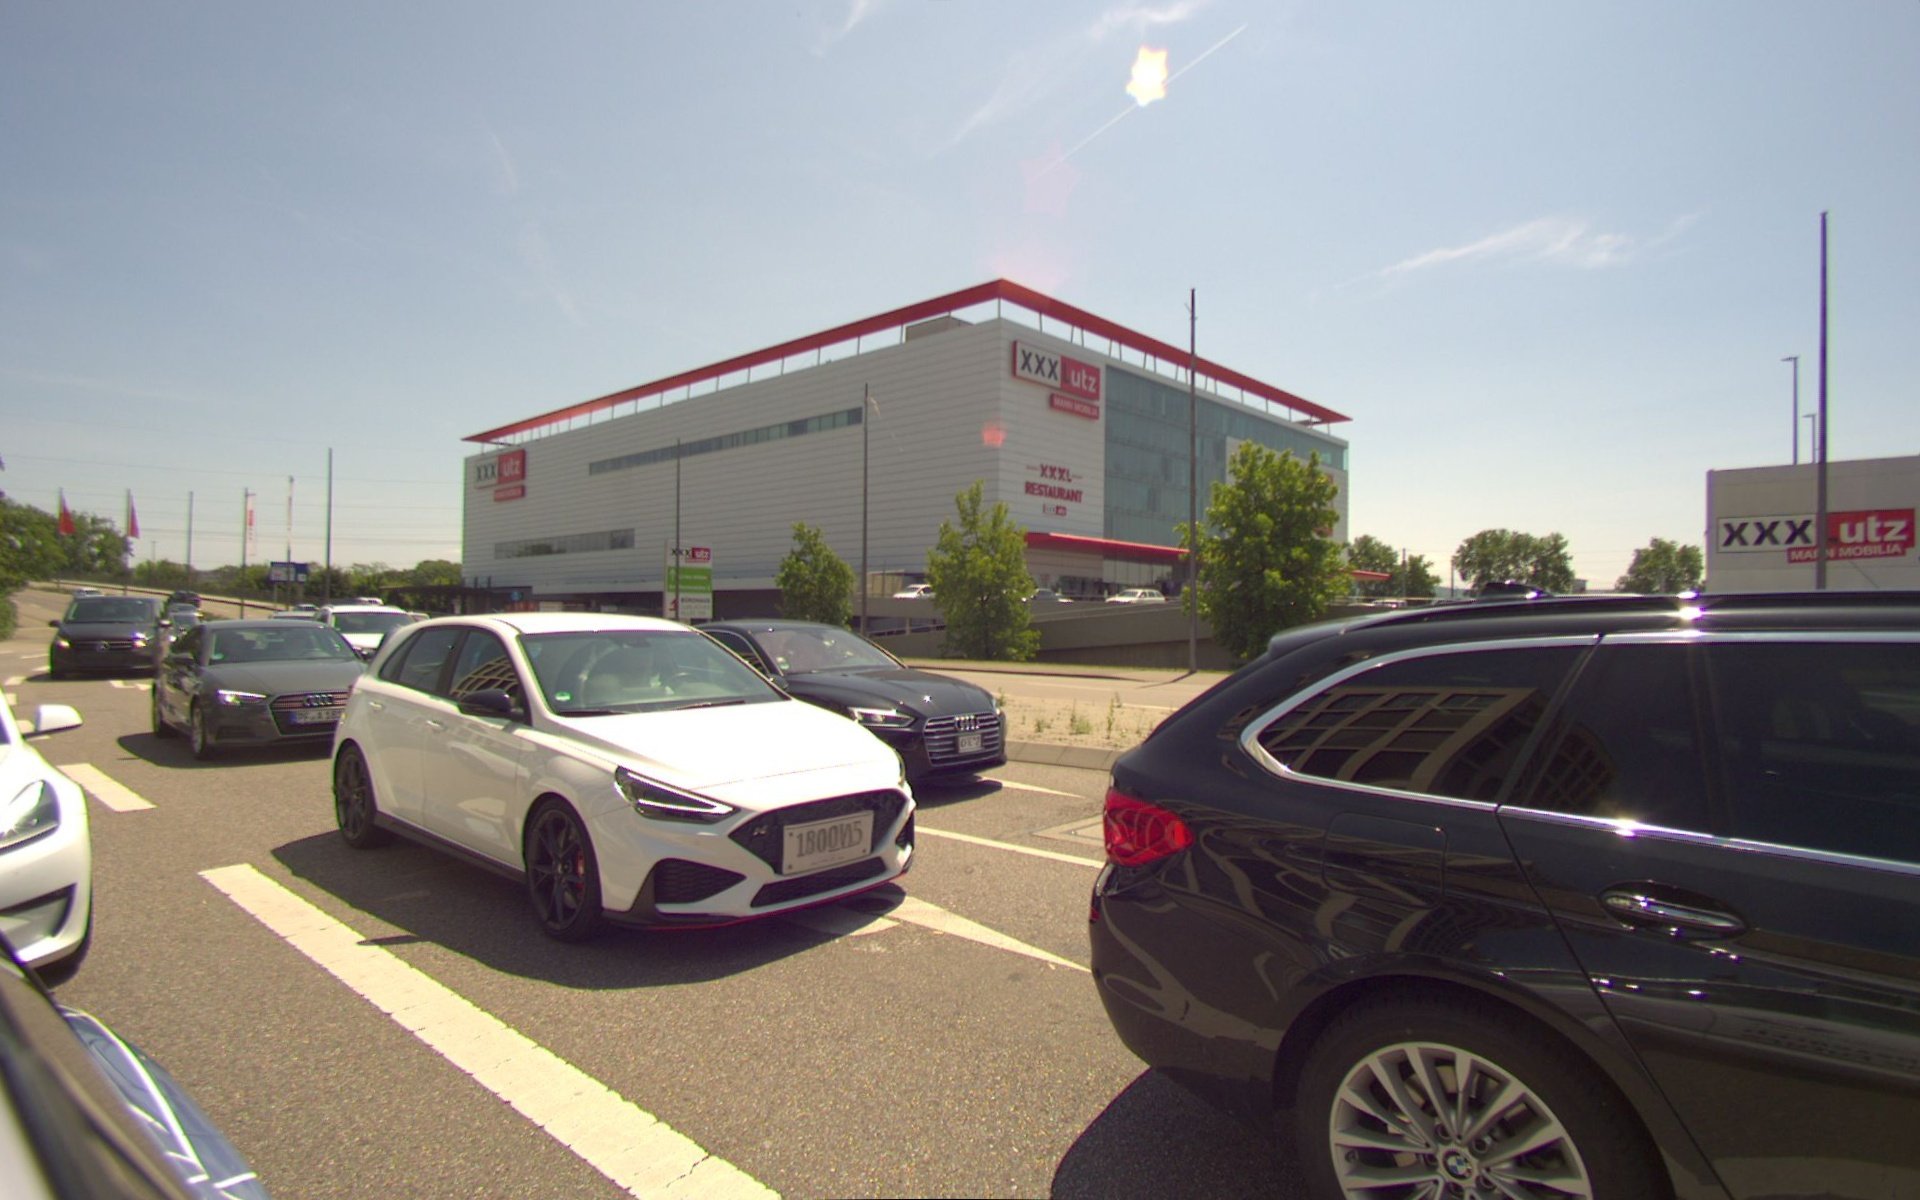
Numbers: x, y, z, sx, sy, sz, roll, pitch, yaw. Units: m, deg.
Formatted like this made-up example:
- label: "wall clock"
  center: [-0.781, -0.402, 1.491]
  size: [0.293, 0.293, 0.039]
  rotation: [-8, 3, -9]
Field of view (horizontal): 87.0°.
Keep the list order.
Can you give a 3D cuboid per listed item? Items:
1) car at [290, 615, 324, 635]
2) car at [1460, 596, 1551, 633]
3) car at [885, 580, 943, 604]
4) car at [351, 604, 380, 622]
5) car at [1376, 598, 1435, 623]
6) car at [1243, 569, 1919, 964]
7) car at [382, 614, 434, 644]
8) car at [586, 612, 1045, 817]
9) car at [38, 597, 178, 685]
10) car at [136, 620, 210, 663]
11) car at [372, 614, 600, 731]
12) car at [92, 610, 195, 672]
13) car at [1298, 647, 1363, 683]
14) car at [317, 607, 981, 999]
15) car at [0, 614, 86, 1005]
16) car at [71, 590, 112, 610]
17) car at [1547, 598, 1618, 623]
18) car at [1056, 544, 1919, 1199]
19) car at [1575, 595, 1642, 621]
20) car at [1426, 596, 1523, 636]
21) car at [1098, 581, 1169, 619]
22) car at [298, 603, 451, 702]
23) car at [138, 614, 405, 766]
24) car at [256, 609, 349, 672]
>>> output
- label: "car"
  center: [-59.432, 2.268, 92.067]
  size: [1.840, 1.736, 4.046]
  rotation: [2, -3, -44]
- label: "car"
  center: [30.878, 0.838, 57.302]
  size: [4.323, 2.029, 1.975]
  rotation: [0, -2, 38]
- label: "car"
  center: [-3.130, -0.528, 69.255]
  size: [1.717, 1.519, 3.944]
  rotation: [-1, -2, 42]
- label: "car"
  center: [-79.501, 1.738, 135.301]
  size: [4.815, 2.300, 2.162]
  rotation: [-1, -2, 44]
- label: "car"
  center: [36.281, 0.869, 82.446]
  size: [4.000, 1.915, 1.972]
  rotation: [-1, -2, 43]
- label: "car"
  center: [3.574, 0.615, 4.725]
  size: [4.009, 1.433, 1.674]
  rotation: [-2, -1, 43]
- label: "car"
  center: [-33.684, 1.750, 61.697]
  size: [1.839, 1.736, 4.047]
  rotation: [2, -2, -42]
- label: "car"
  center: [-1.518, 0.862, 9.177]
  size: [4.466, 1.415, 1.654]
  rotation: [-2, -1, 42]
- label: "car"
  center: [-19.673, 0.891, 23.575]
  size: [1.865, 1.835, 4.850]
  rotation: [1, -1, -33]
- label: "car"
  center: [-28.185, 1.455, 36.336]
  size: [1.582, 1.451, 3.744]
  rotation: [1, -2, -30]
- label: "car"
  center: [-7.078, 0.961, 14.863]
  size: [1.744, 1.413, 4.435]
  rotation: [-2, 0, -43]
- label: "car"
  center: [-23.477, 1.151, 29.240]
  size: [1.784, 1.652, 4.011]
  rotation: [1, -2, -32]
- label: "car"
  center: [19.033, 3.291, 51.896]
  size: [1.997, 1.719, 3.949]
  rotation: [-1, -2, 38]
- label: "car"
  center: [-2.003, 0.782, 5.787]
  size: [4.068, 1.447, 1.769]
  rotation: [-1, -1, 41]
- label: "car"
  center: [-5.606, 0.808, 4.678]
  size: [4.282, 1.447, 1.800]
  rotation: [-1, 0, 41]
- label: "car"
  center: [-84.516, -0.015, 98.488]
  size: [3.988, 1.918, 1.978]
  rotation: [-1, 0, 33]
- label: "car"
  center: [45.326, 0.748, 73.744]
  size: [4.134, 1.754, 1.759]
  rotation: [0, -2, 42]
- label: "car"
  center: [2.538, 0.644, 1.718]
  size: [4.553, 1.451, 1.779]
  rotation: [-1, -1, 40]
- label: "car"
  center: [52.662, 0.635, 82.170]
  size: [4.328, 2.029, 1.972]
  rotation: [0, -2, 42]
- label: "car"
  center: [27.058, 0.860, 53.283]
  size: [4.323, 2.029, 1.974]
  rotation: [0, -2, 38]
- label: "car"
  center: [9.881, 0.042, 57.349]
  size: [4.407, 2.029, 1.680]
  rotation: [2, -2, -44]
- label: "car"
  center: [-11.272, 0.912, 19.319]
  size: [1.743, 1.653, 4.498]
  rotation: [0, 0, -40]
- label: "car"
  center: [-7.840, 0.877, 11.366]
  size: [1.744, 1.393, 4.092]
  rotation: [2, -2, -45]
- label: "car"
  center: [-16.463, 0.971, 25.266]
  size: [1.742, 1.433, 3.908]
  rotation: [-1, -1, -36]
